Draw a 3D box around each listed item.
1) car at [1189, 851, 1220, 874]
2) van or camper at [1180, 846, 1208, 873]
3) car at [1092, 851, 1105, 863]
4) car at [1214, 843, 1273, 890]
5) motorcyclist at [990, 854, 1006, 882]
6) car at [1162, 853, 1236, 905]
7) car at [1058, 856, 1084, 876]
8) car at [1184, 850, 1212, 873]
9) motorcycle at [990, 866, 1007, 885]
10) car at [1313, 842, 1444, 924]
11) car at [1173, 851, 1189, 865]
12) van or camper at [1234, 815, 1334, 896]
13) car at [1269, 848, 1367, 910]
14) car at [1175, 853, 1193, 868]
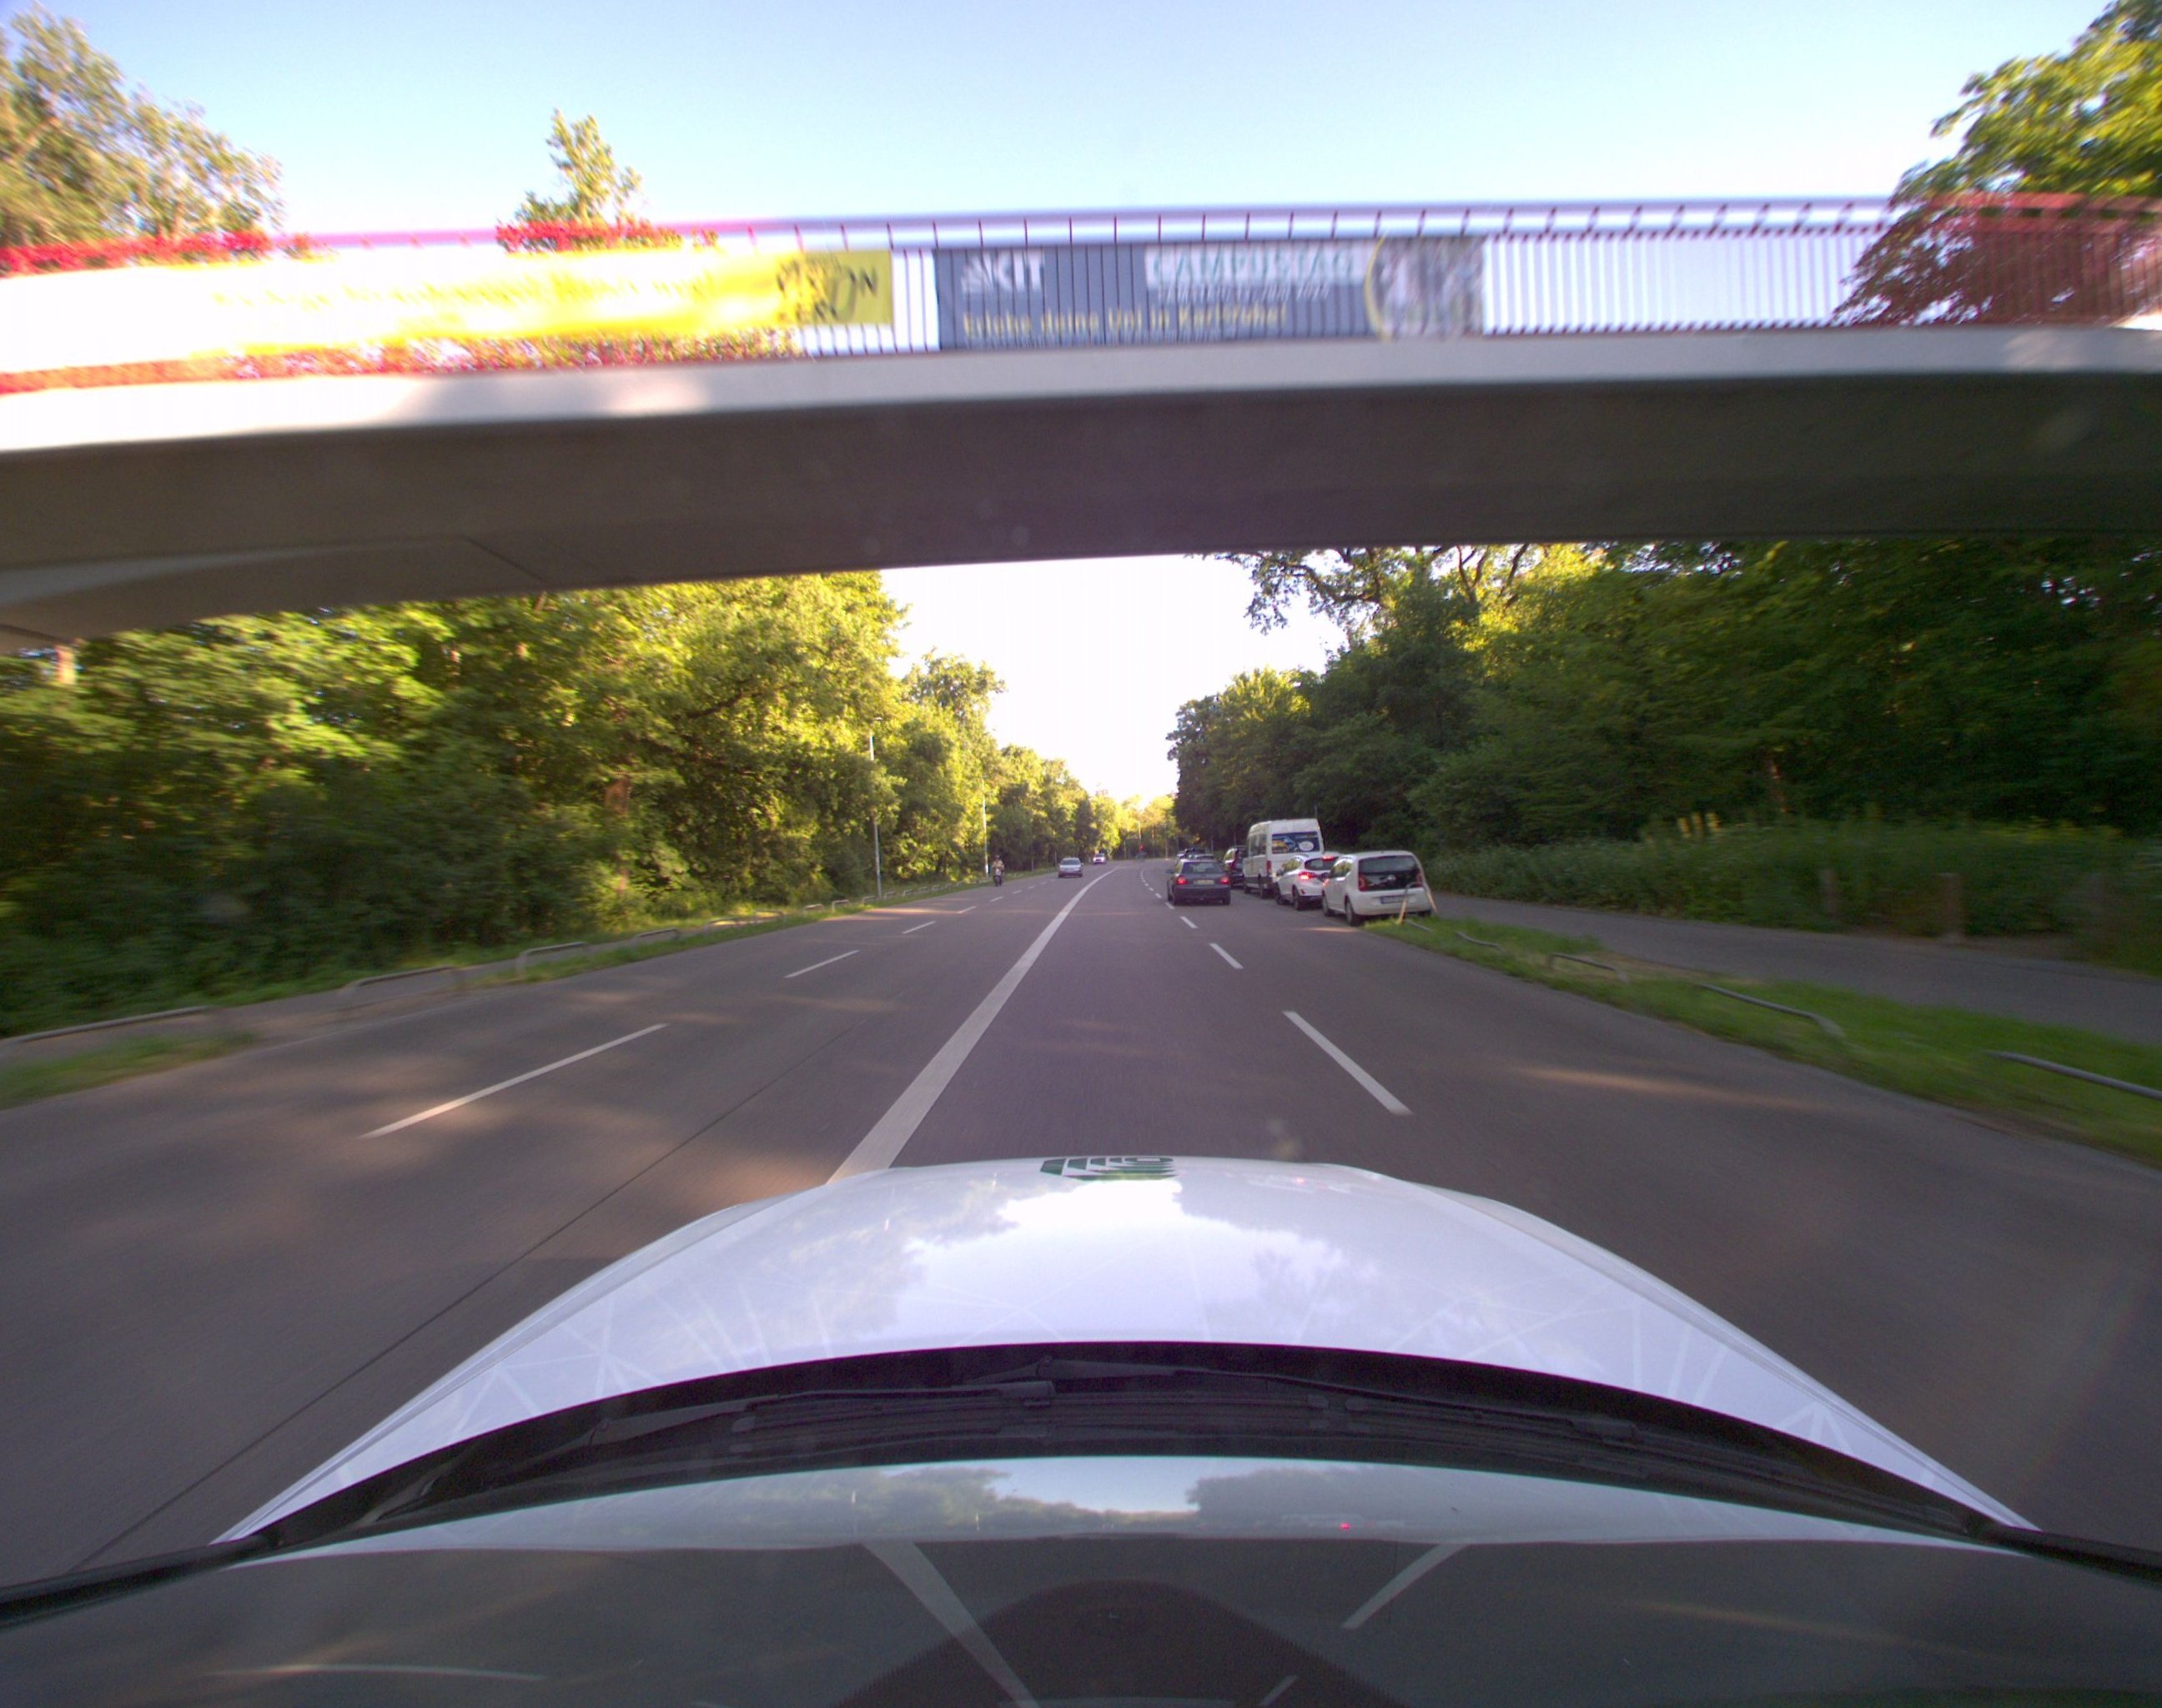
[{"bbox_3d":[8.206,0.543,54.247,1.720,1.441,4.106,-3,0,5],"label":"car"},{"bbox_3d":[9.031,0.426,65.343,1.884,1.948,5.141,-4,0,5],"label":"van or camper"},{"bbox_3d":[3.243,0.543,148.776,1.985,1.992,5.002,-2,0,4],"label":"car"},{"bbox_3d":[7.136,0.517,36.269,1.822,1.868,5.078,-3,0,3],"label":"car"},{"bbox_3d":[-4.619,0.794,45.447,0.722,1.505,0.672,-2,-1,2],"label":"motorcyclist"},{"bbox_3d":[3.597,0.717,25.433,1.722,1.441,4.090,-1,0,1],"label":"car"},{"bbox_3d":[-0.747,0.880,60.738,1.675,1.407,3.892,-3,0,2],"label":"car"},{"bbox_3d":[8.496,0.555,59.609,1.720,1.544,4.223,-3,0,5],"label":"car"},{"bbox_3d":[-4.601,1.163,45.496,0.634,0.995,2.078,-1,0,2],"label":"motorcycle"},{"bbox_3d":[6.371,0.567,17.886,1.714,1.496,3.781,-5,0,6],"label":"car"},{"bbox_3d":[12.560,0.515,102.103,1.718,1.522,4.098,-4,-1,8],"label":"car"},{"bbox_3d":[7.030,0.046,28.948,2.111,2.517,5.982,-3,0,2],"label":"van or camper"},{"bbox_3d":[6.473,0.619,22.648,1.715,1.496,4.150,-3,0,4],"label":"car"},{"bbox_3d":[11.075,0.695,87.623,1.719,1.441,4.674,-4,-1,6],"label":"car"}]
